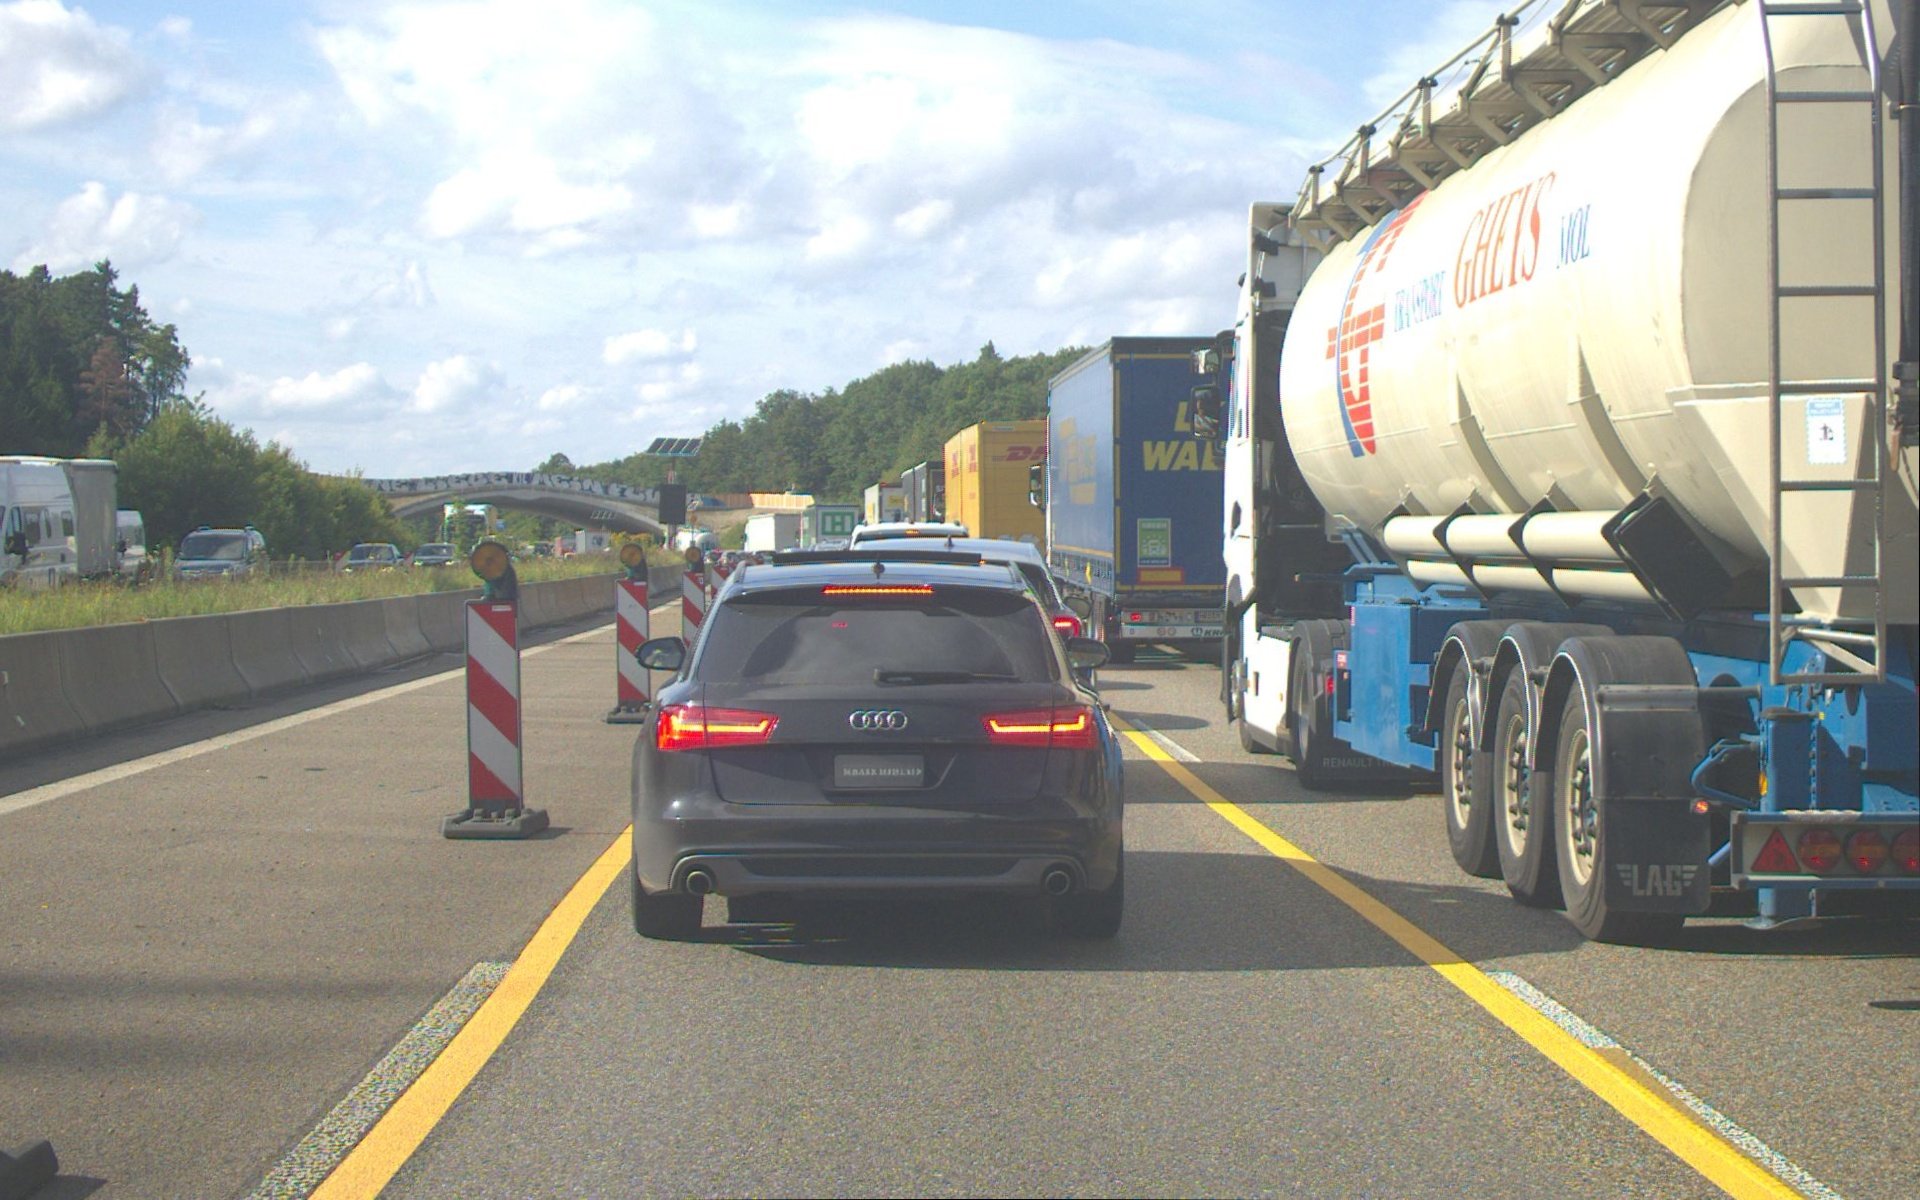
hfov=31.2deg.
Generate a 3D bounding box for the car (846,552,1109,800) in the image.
[{"bbox_3d":[0.076,0.430,21.853,1.524,1.434,3.285,1,0,-1],"label":"car"}]

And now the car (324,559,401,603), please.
[{"bbox_3d":[-19.424,-0.628,111.836,1.779,1.382,4.310,1,0,-1],"label":"car"}]

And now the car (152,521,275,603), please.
[{"bbox_3d":[-17.032,-0.863,78.592,1.944,1.806,4.119,1,0,-1],"label":"car"}]

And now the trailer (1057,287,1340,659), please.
[{"bbox_3d":[3.000,-1.565,46.324,2.805,4.398,10.433,1,0,-1],"label":"trailer"}]

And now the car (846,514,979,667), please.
[{"bbox_3d":[-0.607,-0.133,43.337,1.581,1.830,3.112,1,0,-1],"label":"car"}]

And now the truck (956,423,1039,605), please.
[{"bbox_3d":[0.801,-1.866,76.000,1.609,3.883,4.072,1,0,-2],"label":"truck"}]

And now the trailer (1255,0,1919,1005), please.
[{"bbox_3d":[3.446,-0.826,16.673,2.644,3.929,12.598,1,1,-1],"label":"trailer"}]

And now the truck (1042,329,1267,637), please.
[{"bbox_3d":[2.873,-1.705,53.070,2.806,4.354,7.792,1,0,-1],"label":"truck"}]

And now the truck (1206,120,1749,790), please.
[{"bbox_3d":[3.301,-0.892,23.441,2.659,3.958,5.779,1,0,-1],"label":"truck"}]

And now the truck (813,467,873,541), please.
[{"bbox_3d":[-6.905,-5.578,201.529,3.303,4.160,9.703,0,1,-3],"label":"truck"}]

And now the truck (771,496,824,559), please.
[{"bbox_3d":[-11.028,-4.885,232.186,3.303,4.160,9.704,1,1,-4],"label":"truck"}]

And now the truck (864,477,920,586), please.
[{"bbox_3d":[-2.764,-2.736,138.982,2.137,4.243,7.072,1,0,-1],"label":"truck"}]

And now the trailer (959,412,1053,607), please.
[{"bbox_3d":[0.928,-1.845,72.239,1.616,3.905,6.490,1,0,-2],"label":"trailer"}]

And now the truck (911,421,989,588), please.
[{"bbox_3d":[-0.365,-2.900,105.857,1.993,4.897,9.563,1,1,-2],"label":"truck"}]

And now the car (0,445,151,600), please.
[{"bbox_3d":[-20.573,-1.735,78.736,2.486,3.358,7.453,1,0,-1],"label":"car"}]

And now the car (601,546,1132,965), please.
[{"bbox_3d":[-0.361,0.529,14.048,1.848,1.458,4.000,0,0,-1],"label":"car"}]

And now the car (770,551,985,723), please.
[{"bbox_3d":[-0.710,0.289,30.106,1.751,1.392,3.608,1,0,-1],"label":"car"}]

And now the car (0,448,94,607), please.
[{"bbox_3d":[-15.880,-1.177,55.692,2.160,2.443,6.332,1,1,-1],"label":"car"}]
